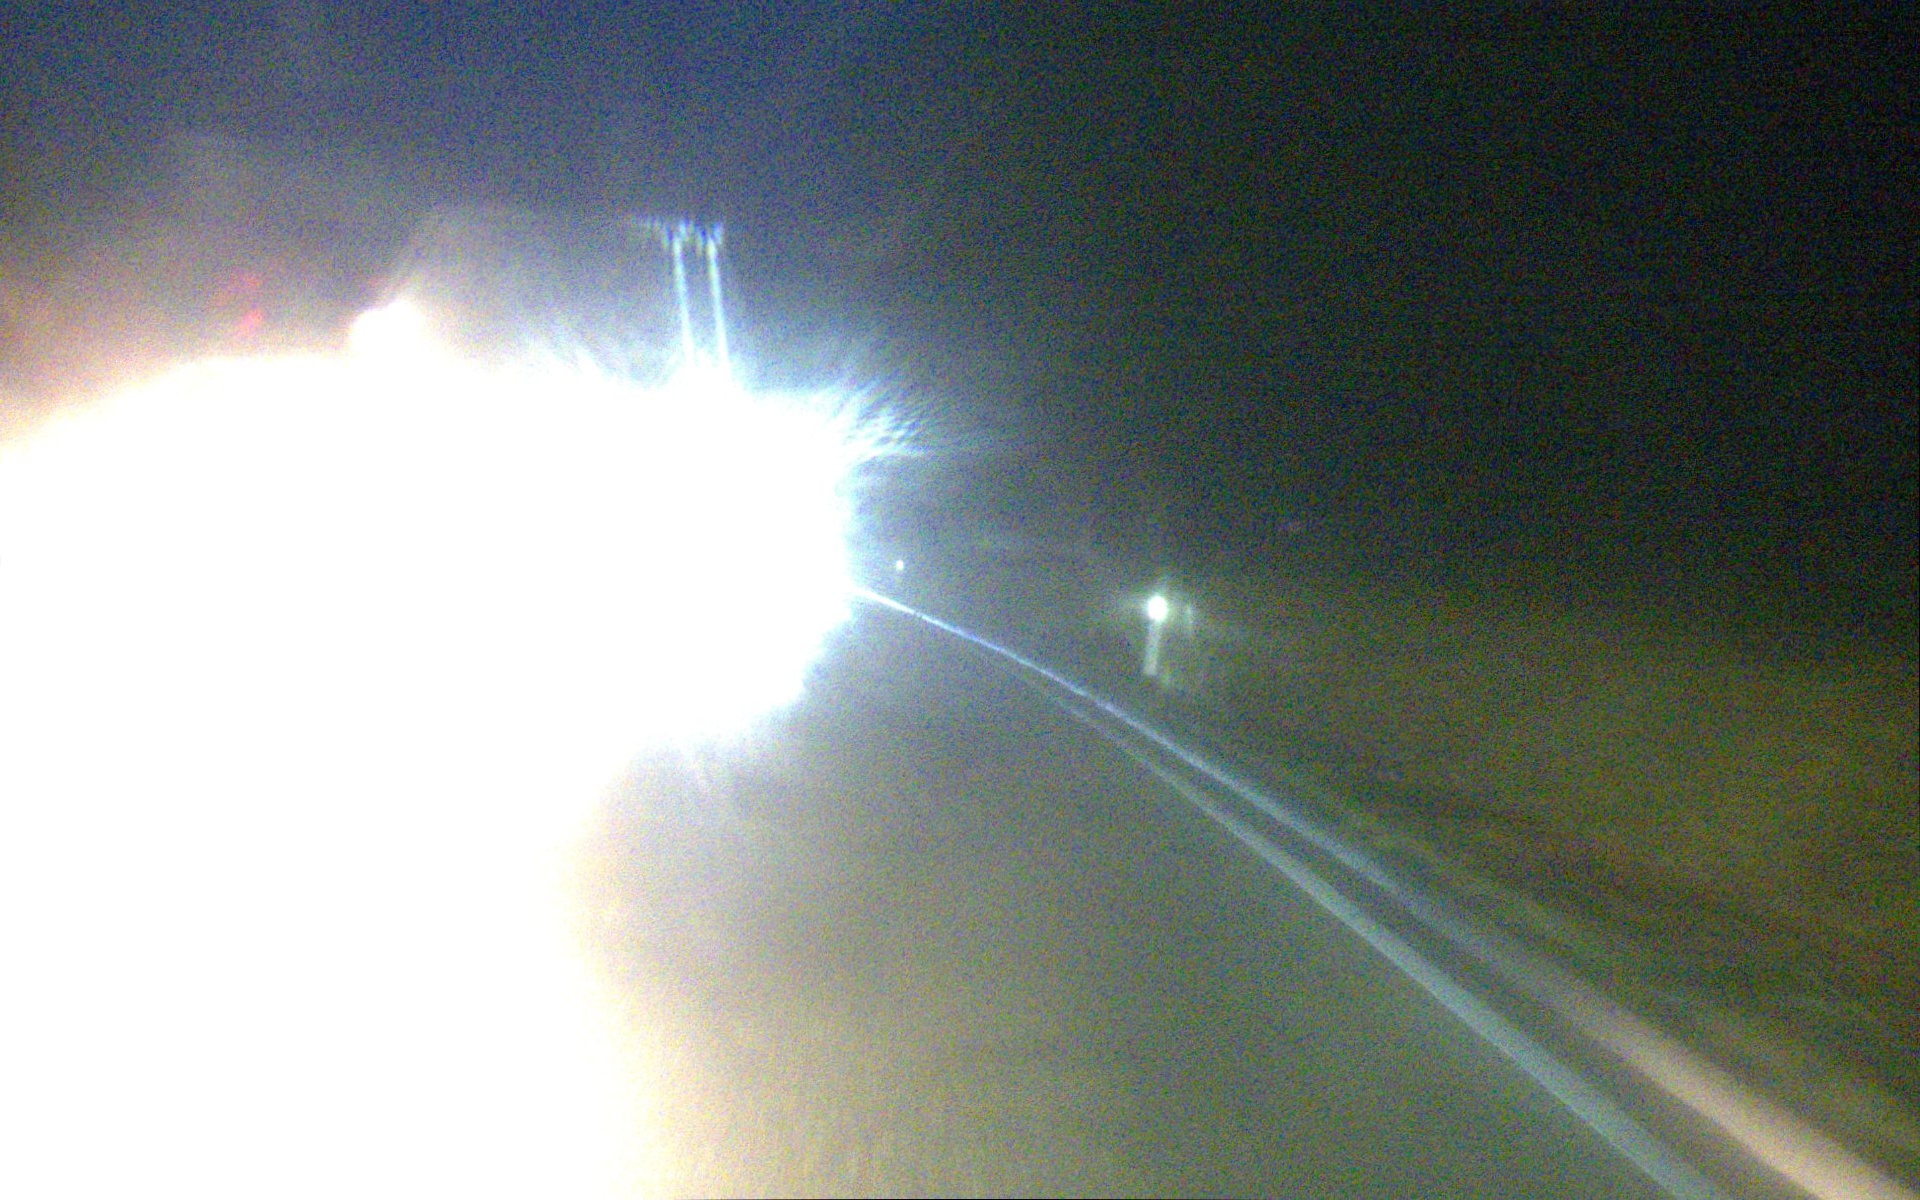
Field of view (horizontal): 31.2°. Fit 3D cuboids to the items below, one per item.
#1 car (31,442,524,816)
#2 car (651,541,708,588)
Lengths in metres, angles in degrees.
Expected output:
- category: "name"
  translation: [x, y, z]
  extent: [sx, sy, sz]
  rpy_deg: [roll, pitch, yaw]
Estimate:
- category: "car"
  translation: [-3.653, 0.117, 19.124]
  extent: [1.993, 1.816, 4.000]
  rpy_deg: [1, 1, -1]
- category: "car"
  translation: [-9.720, -1.233, 119.305]
  extent: [1.829, 1.562, 3.780]
  rpy_deg: [1, 1, -4]
